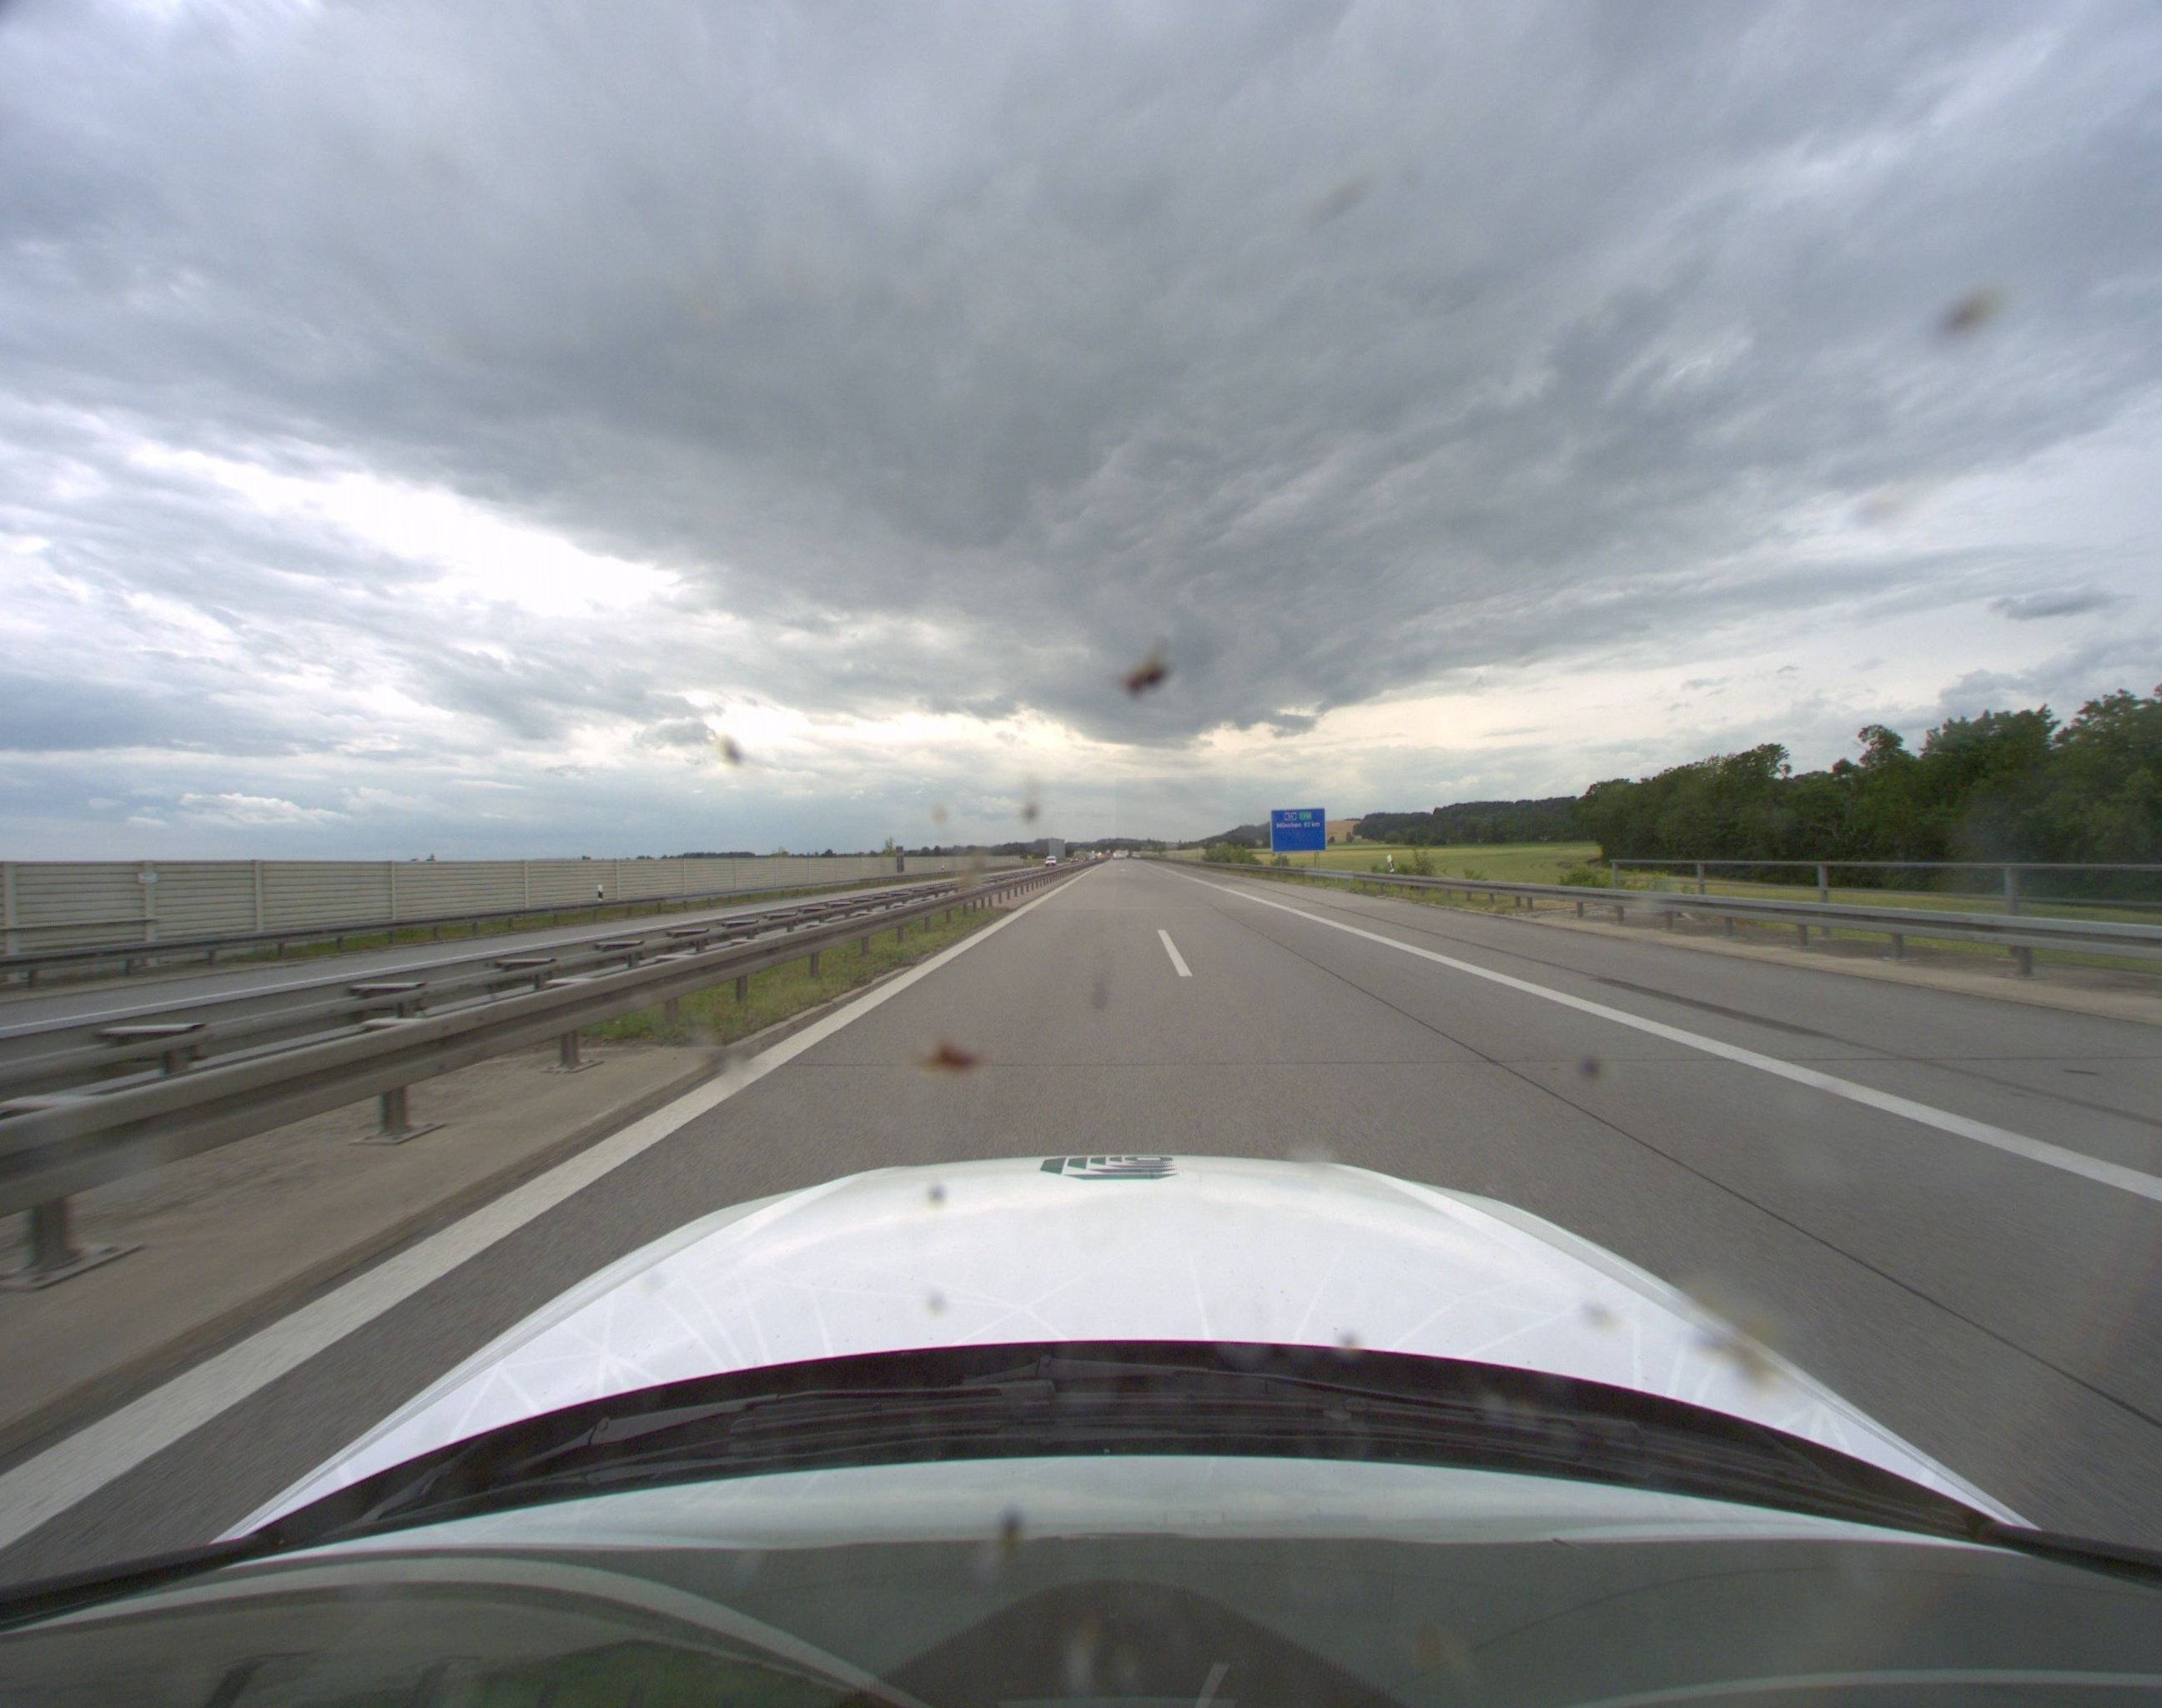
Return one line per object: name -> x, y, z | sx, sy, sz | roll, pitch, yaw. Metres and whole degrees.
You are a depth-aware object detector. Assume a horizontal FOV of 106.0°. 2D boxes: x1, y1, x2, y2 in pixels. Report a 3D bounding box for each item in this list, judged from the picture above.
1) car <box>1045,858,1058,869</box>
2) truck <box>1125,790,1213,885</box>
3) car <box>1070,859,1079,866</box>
car -> -5.056, 1.669, 141.969 | 1.748, 1.742, 4.917 | -4, 0, 3
truck -> 4.658, -0.798, 46.983 | 3.659, 4.412, 16.346 | -1, 0, 2
car -> -1.626, 2.086, 209.075 | 1.888, 1.631, 4.177 | -4, -1, 2
